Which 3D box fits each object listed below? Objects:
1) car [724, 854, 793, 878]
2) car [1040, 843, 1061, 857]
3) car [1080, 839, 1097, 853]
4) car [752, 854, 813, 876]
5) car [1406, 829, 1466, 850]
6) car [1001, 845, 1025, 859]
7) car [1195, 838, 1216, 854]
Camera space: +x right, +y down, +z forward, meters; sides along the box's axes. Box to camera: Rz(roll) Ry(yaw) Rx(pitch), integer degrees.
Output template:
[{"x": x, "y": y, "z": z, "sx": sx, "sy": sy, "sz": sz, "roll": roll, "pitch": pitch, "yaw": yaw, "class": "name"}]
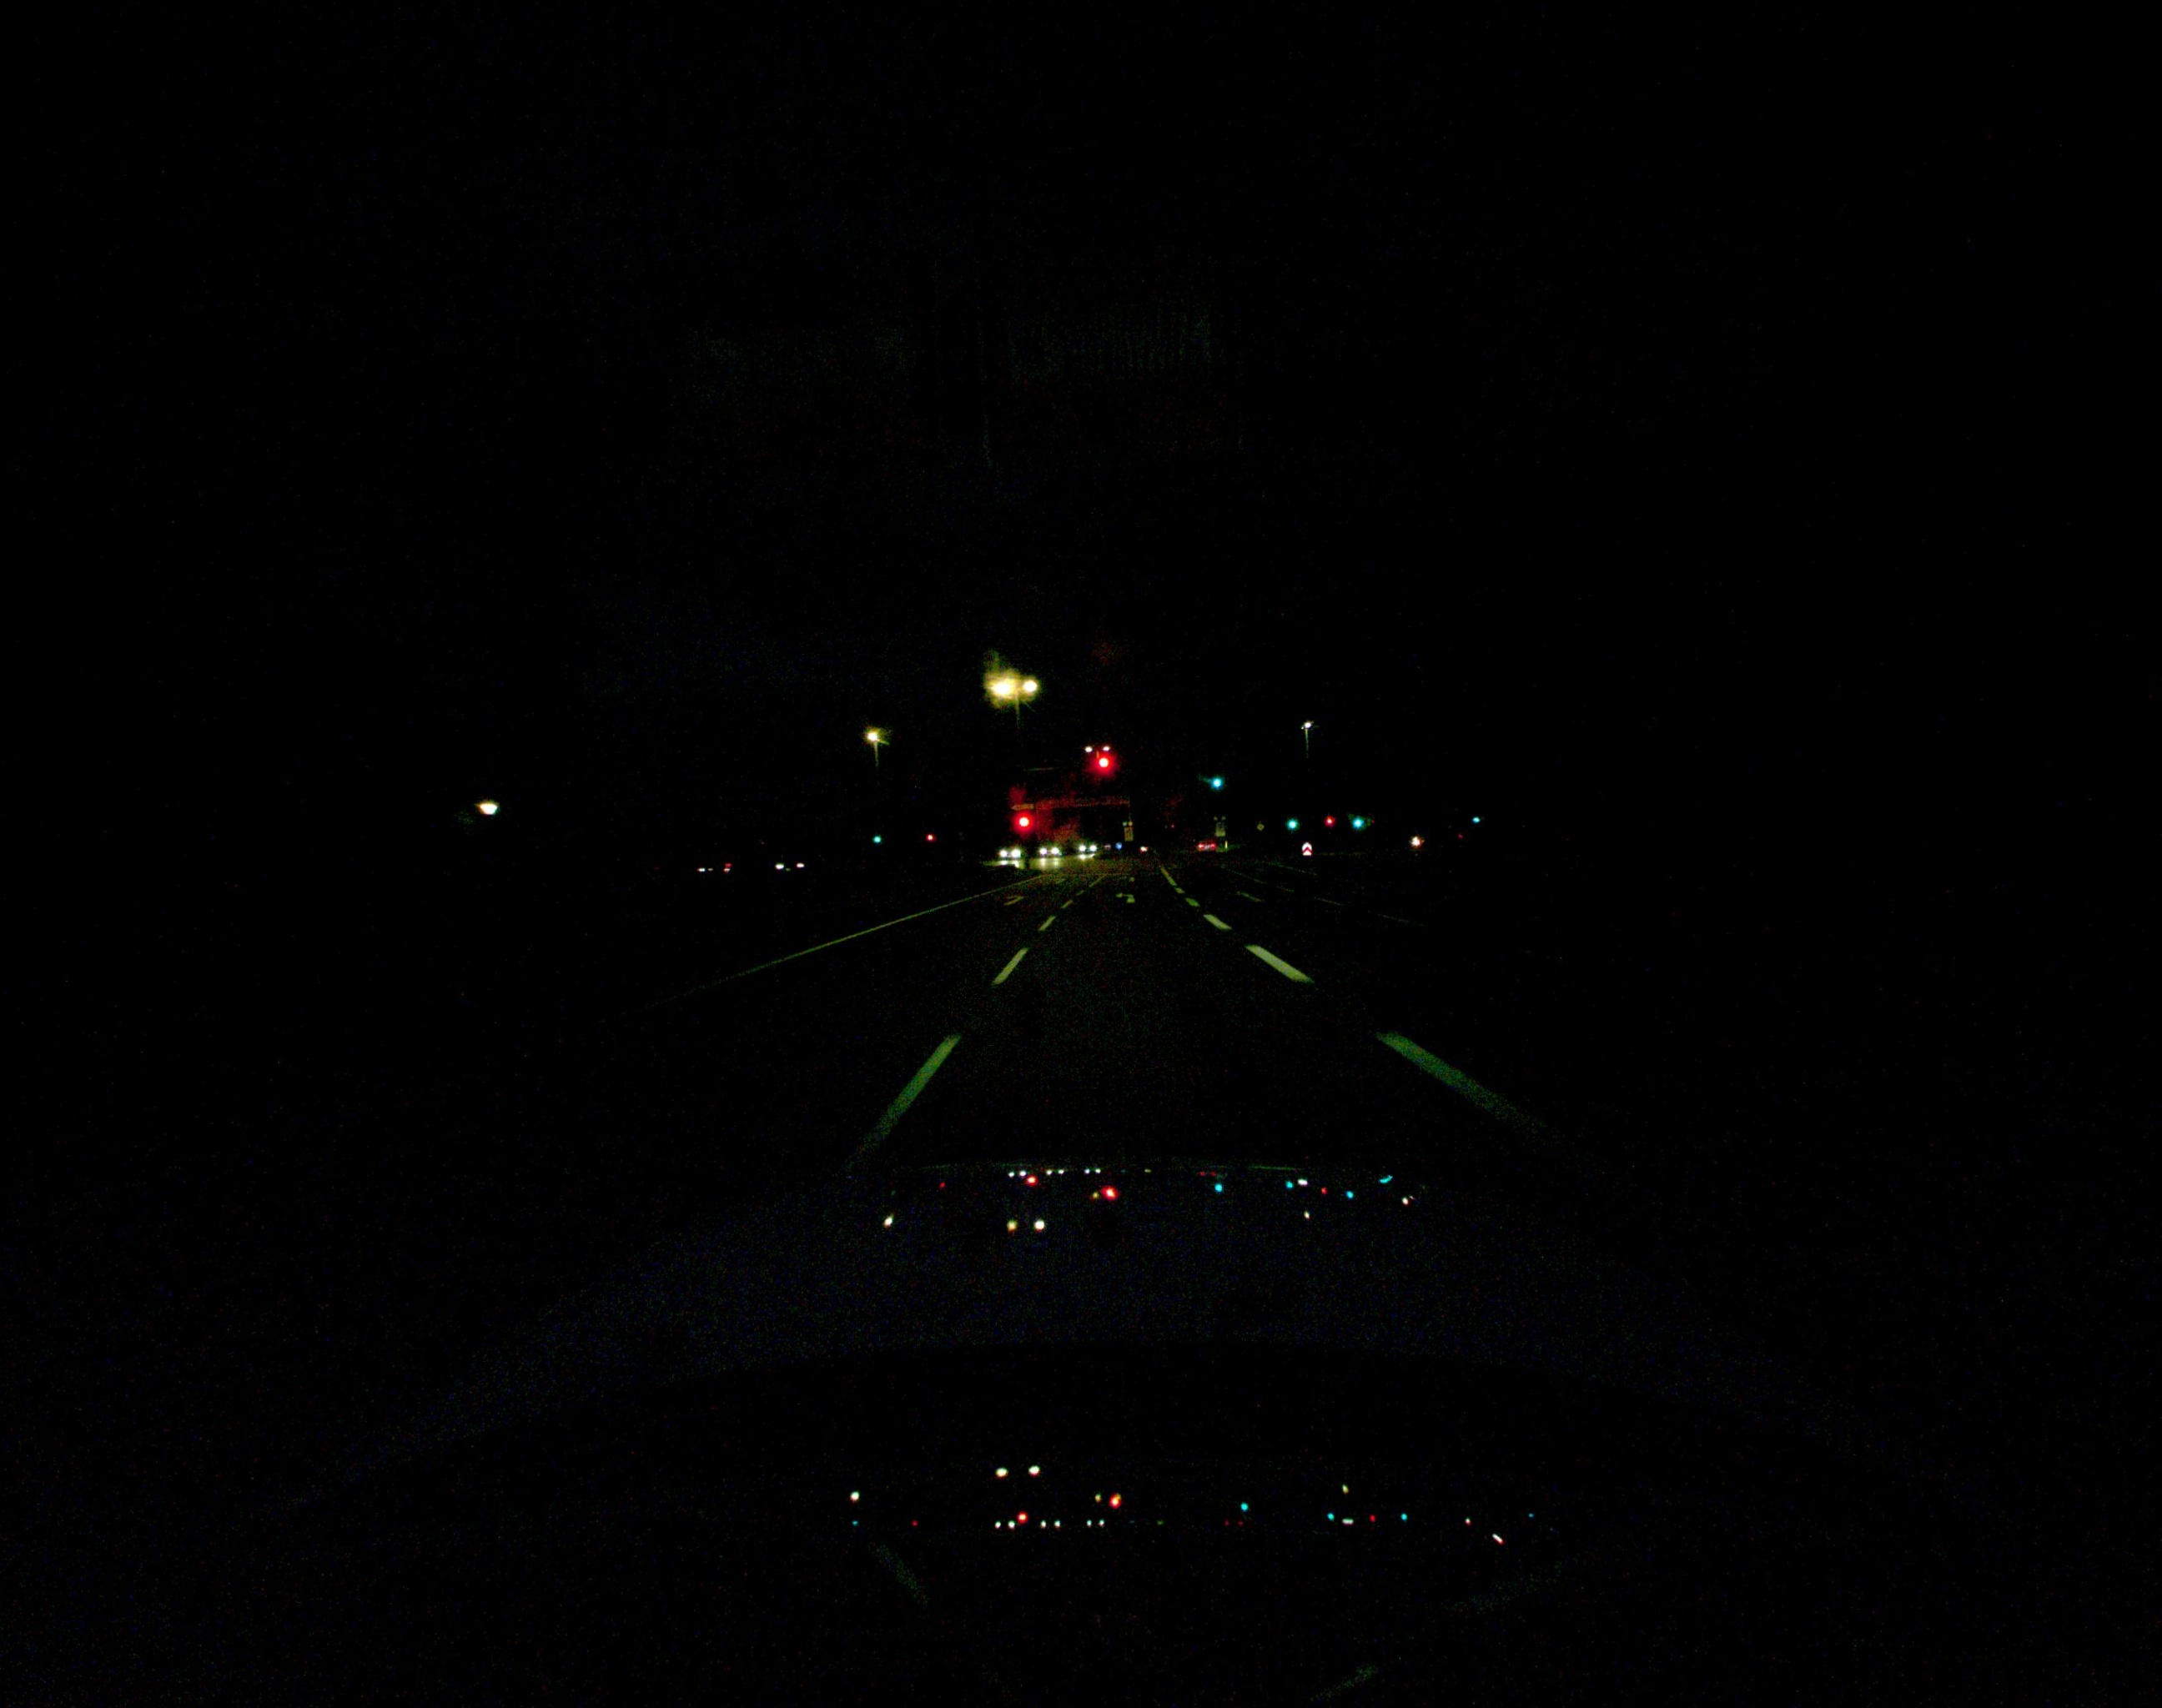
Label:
[{"x": -23.941, "y": 0.885, "z": 60.533, "sx": 4.295, "sy": 1.537, "sz": 1.731, "roll": -3, "pitch": 0, "yaw": 3, "class": "car"}, {"x": -3.598, "y": -0.523, "z": 97.130, "sx": 1.985, "sy": 1.481, "sz": 4.687, "roll": -2, "pitch": 1, "yaw": 4, "class": "car"}, {"x": 1.021, "y": -1.056, "z": 107.584, "sx": 1.985, "sy": 1.698, "sz": 4.004, "roll": -2, "pitch": 1, "yaw": 3, "class": "car"}, {"x": -23.438, "y": 0.859, "z": 63.982, "sx": 4.026, "sy": 1.537, "sz": 1.730, "roll": -3, "pitch": 0, "yaw": 1, "class": "car"}, {"x": 29.196, "y": -1.171, "z": 67.110, "sx": 4.059, "sy": 1.569, "sz": 2.003, "roll": -2, "pitch": 1, "yaw": 1, "class": "car"}, {"x": -7.620, "y": -0.234, "z": 91.240, "sx": 1.985, "sy": 1.425, "sz": 4.537, "roll": -2, "pitch": 1, "yaw": 4, "class": "car"}, {"x": 13.029, "y": -0.850, "z": 85.148, "sx": 1.997, "sy": 1.610, "sz": 3.853, "roll": -1, "pitch": 1, "yaw": 7, "class": "car"}]
